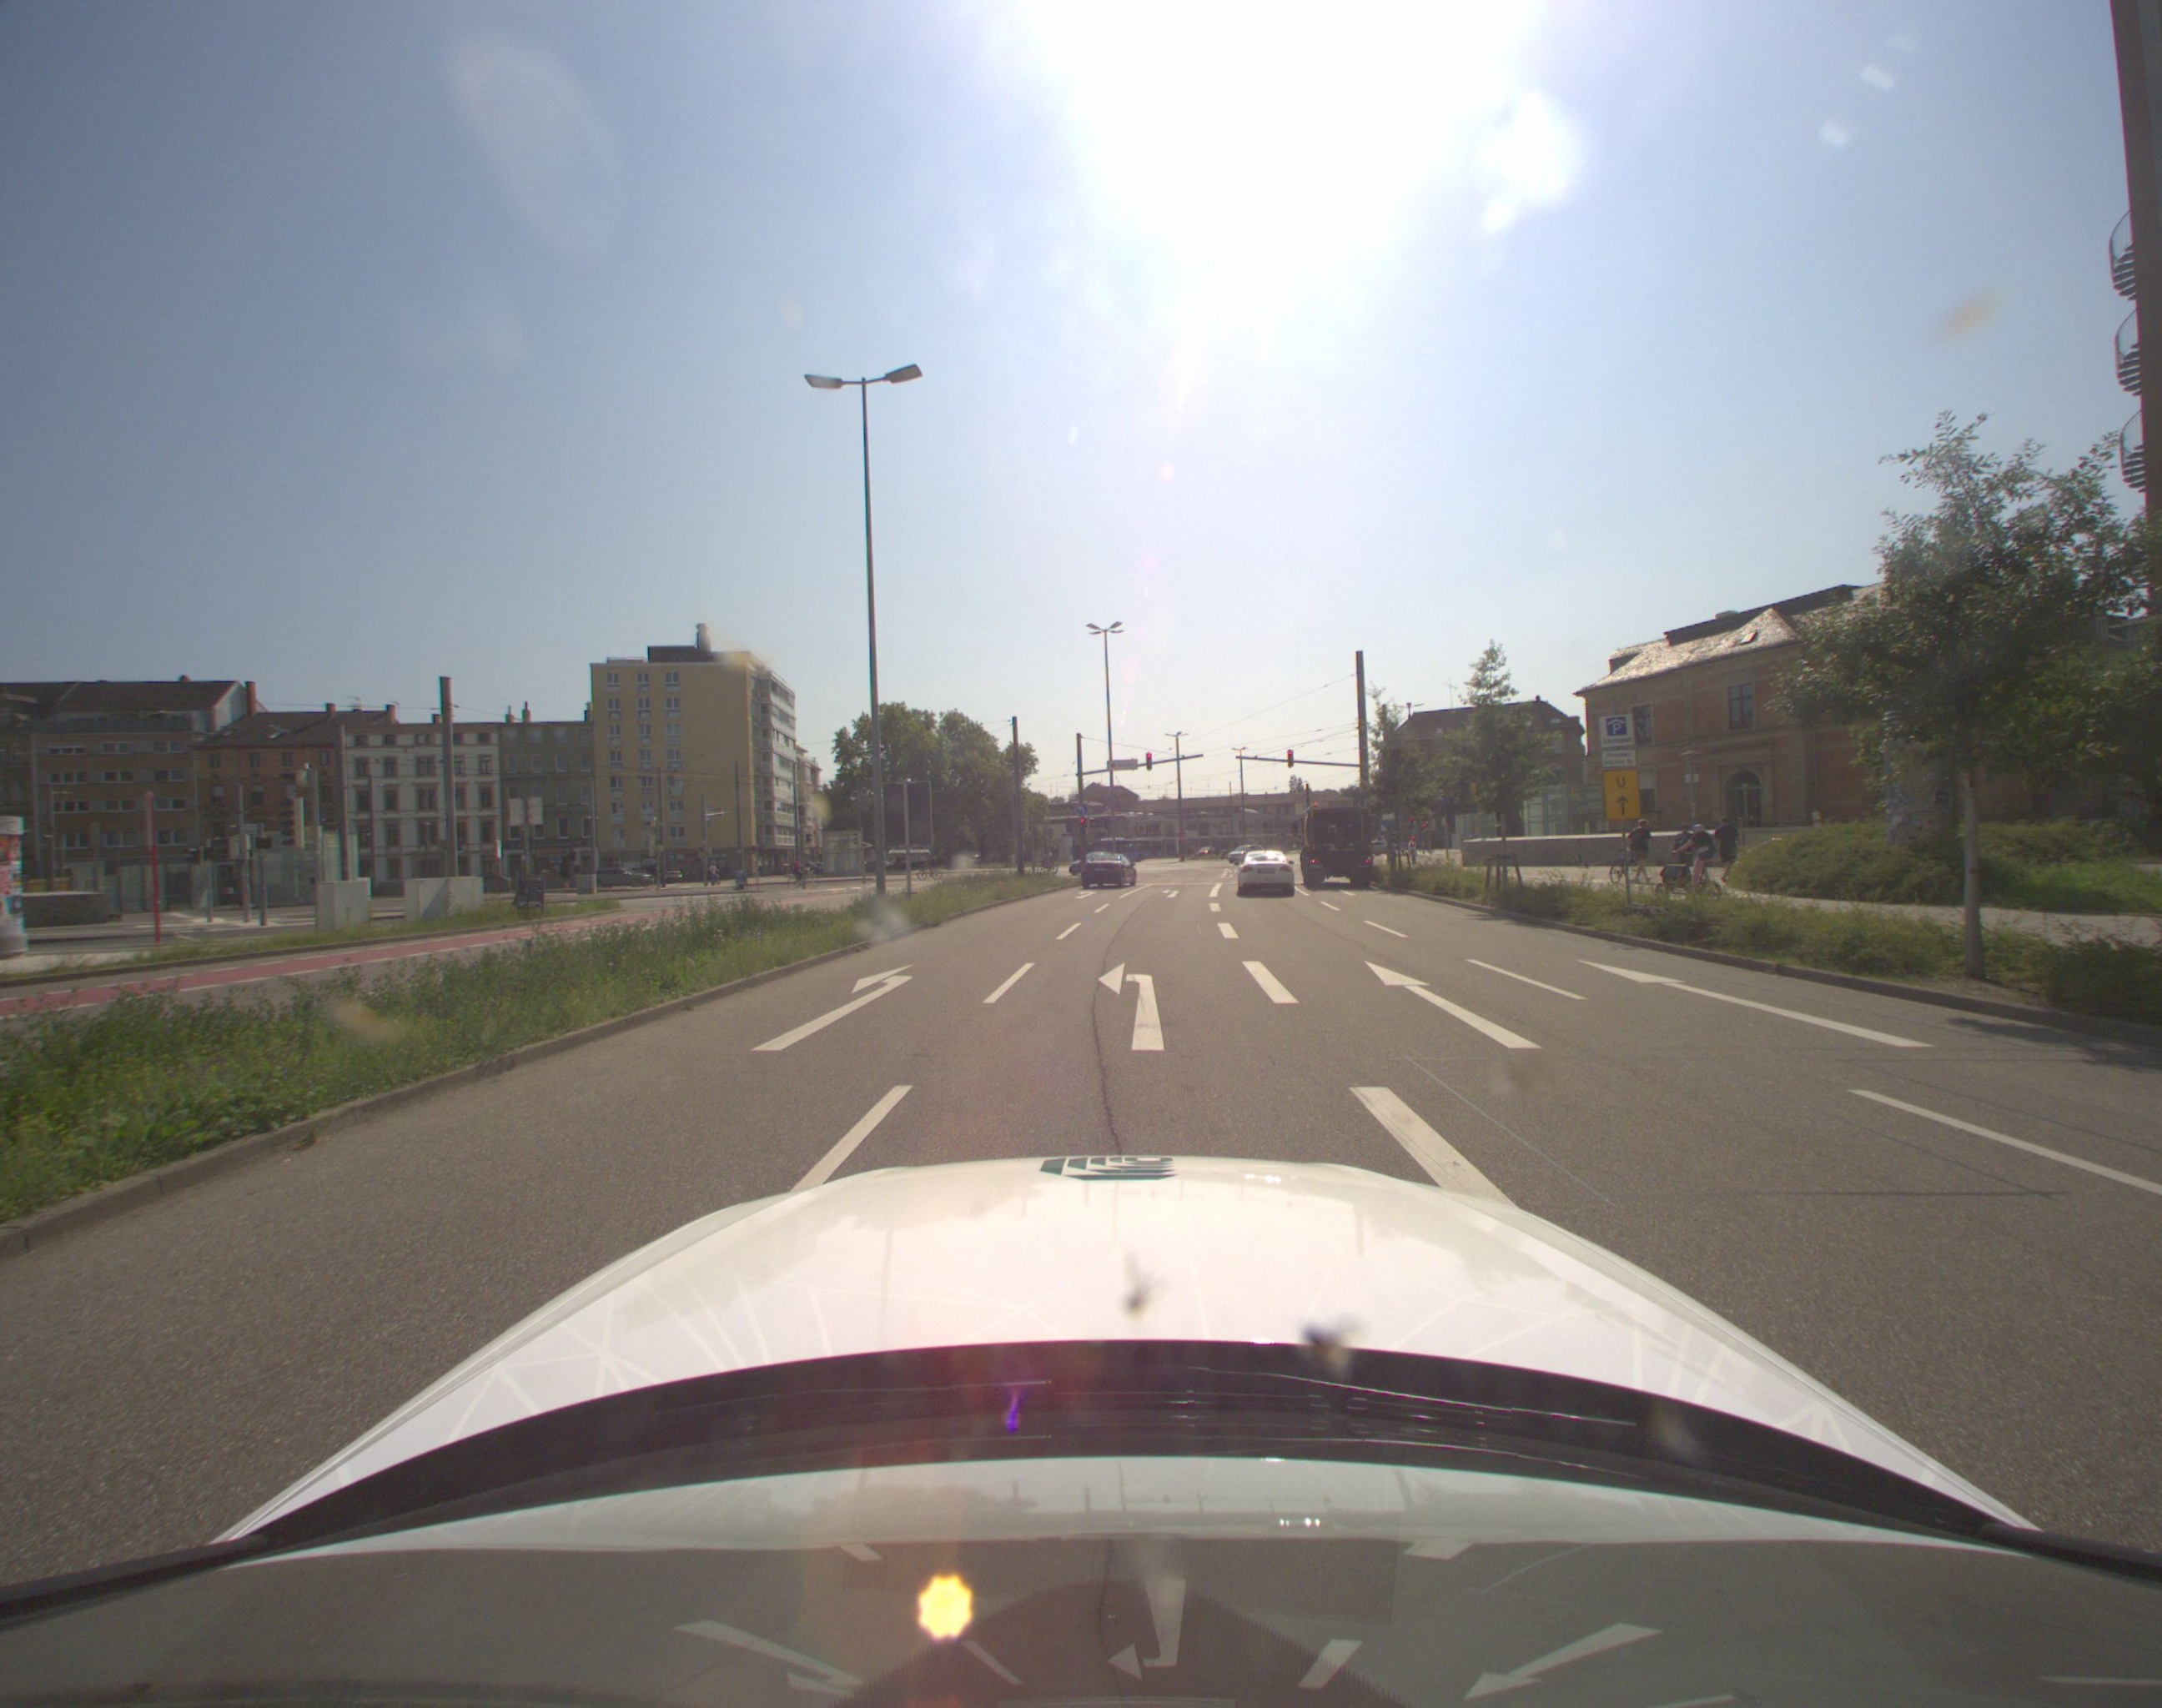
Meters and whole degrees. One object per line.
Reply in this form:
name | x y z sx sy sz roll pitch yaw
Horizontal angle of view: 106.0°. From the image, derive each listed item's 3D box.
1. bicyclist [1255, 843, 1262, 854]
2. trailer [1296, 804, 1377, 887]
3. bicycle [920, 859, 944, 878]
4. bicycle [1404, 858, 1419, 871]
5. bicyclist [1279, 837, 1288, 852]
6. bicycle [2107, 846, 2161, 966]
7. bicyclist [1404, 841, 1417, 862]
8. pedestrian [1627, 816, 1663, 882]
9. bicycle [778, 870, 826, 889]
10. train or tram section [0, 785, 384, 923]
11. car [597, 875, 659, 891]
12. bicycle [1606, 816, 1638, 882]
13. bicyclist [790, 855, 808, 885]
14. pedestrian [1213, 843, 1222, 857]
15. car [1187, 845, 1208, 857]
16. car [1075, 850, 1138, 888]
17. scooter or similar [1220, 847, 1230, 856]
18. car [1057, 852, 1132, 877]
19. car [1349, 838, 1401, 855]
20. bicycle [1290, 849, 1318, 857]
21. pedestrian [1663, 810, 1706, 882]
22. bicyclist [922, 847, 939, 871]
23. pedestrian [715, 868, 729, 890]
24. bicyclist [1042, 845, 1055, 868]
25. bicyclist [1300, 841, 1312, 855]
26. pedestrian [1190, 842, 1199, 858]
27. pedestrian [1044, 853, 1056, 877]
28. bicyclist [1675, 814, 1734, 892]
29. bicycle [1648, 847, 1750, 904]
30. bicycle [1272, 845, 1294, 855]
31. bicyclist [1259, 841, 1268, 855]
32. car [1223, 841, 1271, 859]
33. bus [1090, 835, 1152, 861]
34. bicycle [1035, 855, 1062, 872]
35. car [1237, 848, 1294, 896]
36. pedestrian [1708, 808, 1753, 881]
bicyclist | 18.909 -0.612 86.772 0.498 1.188 0.510 -2 0 27
trailer | 10.119 -0.348 32.748 2.447 3.007 6.346 0 1 11
bicycle | -10.084 0.958 55.137 0.976 1.178 2.810 -2 0 -22
bicycle | 21.143 0.682 52.171 0.669 0.776 2.137 -2 0 16
bicyclist | 22.665 -1.052 91.143 0.760 1.634 0.761 -2 0 -5
bicycle | 11.029 0.516 7.282 0.691 1.155 2.372 -4 0 1
bicyclist | 21.095 -0.168 52.130 0.669 1.320 0.686 -2 0 16
pedestrian | 16.379 -0.156 23.657 0.654 1.860 0.797 -2 1 22
bicycle | -15.689 1.423 45.844 2.407 0.953 0.602 -2 0 -8
train or tram section | -27.179 -0.101 24.881 3.104 3.569 8.299 -4 0 36
car | -35.127 2.265 63.235 3.886 0.987 1.709 -2 0 -13
bicycle | 15.807 -0.162 23.819 0.451 1.860 1.370 -2 0 22
bicyclist | -15.861 0.896 45.831 0.838 1.642 0.605 -2 -1 -8
pedestrian | 15.277 -0.477 90.927 0.637 1.561 0.742 -2 0 -22
car | 15.506 -0.429 108.614 1.712 1.420 3.862 -2 0 25
car | 1.136 0.596 33.842 1.745 1.404 3.996 -1 1 14
scooter or similar | 16.114 -0.229 91.253 0.839 0.974 0.787 -2 0 -22
car | 0.881 0.715 53.914 4.577 1.438 1.981 -2 0 -29
car | 28.105 -0.720 77.799 4.592 1.400 1.931 -2 0 -23
bicycle | 24.481 -0.113 89.358 2.934 0.727 0.862 -2 0 -9
pedestrian | 17.028 -0.224 23.000 0.771 1.973 0.758 -2 0 25
bicyclist | -10.318 0.336 55.665 0.976 1.654 0.657 -2 0 -23
pedestrian | -27.537 1.878 62.474 0.648 1.633 0.812 -2 0 -7
bicyclist | -2.420 0.184 60.354 0.684 1.650 0.623 -1 1 44
bicyclist | 24.676 -0.707 89.383 0.903 1.501 0.862 -2 0 -8
pedestrian | 12.652 -0.414 90.615 0.776 1.752 0.813 -2 0 25
pedestrian | -1.691 0.581 44.693 0.595 1.268 0.504 -2 2 -8
bicyclist | 12.462 -0.024 16.298 0.547 1.496 0.804 -2 1 0
bicycle | 12.476 0.400 16.528 0.554 1.060 2.004 -2 1 1
bicycle | 22.627 -0.421 91.137 2.194 1.087 0.761 -2 0 -6
bicyclist | 20.118 -0.634 89.794 0.797 1.541 0.760 -2 0 -9
car | 14.336 -0.325 70.240 4.085 1.425 1.756 -2 0 -36
bus | 5.083 -0.842 99.950 3.025 2.931 11.924 -2 0 27
bicycle | -2.415 0.680 60.354 0.690 1.137 2.056 -2 0 44
car | 6.244 0.544 27.863 1.746 1.455 4.439 -1 1 11
pedestrian | 18.113 -0.259 22.723 0.771 1.973 0.758 -2 0 25
